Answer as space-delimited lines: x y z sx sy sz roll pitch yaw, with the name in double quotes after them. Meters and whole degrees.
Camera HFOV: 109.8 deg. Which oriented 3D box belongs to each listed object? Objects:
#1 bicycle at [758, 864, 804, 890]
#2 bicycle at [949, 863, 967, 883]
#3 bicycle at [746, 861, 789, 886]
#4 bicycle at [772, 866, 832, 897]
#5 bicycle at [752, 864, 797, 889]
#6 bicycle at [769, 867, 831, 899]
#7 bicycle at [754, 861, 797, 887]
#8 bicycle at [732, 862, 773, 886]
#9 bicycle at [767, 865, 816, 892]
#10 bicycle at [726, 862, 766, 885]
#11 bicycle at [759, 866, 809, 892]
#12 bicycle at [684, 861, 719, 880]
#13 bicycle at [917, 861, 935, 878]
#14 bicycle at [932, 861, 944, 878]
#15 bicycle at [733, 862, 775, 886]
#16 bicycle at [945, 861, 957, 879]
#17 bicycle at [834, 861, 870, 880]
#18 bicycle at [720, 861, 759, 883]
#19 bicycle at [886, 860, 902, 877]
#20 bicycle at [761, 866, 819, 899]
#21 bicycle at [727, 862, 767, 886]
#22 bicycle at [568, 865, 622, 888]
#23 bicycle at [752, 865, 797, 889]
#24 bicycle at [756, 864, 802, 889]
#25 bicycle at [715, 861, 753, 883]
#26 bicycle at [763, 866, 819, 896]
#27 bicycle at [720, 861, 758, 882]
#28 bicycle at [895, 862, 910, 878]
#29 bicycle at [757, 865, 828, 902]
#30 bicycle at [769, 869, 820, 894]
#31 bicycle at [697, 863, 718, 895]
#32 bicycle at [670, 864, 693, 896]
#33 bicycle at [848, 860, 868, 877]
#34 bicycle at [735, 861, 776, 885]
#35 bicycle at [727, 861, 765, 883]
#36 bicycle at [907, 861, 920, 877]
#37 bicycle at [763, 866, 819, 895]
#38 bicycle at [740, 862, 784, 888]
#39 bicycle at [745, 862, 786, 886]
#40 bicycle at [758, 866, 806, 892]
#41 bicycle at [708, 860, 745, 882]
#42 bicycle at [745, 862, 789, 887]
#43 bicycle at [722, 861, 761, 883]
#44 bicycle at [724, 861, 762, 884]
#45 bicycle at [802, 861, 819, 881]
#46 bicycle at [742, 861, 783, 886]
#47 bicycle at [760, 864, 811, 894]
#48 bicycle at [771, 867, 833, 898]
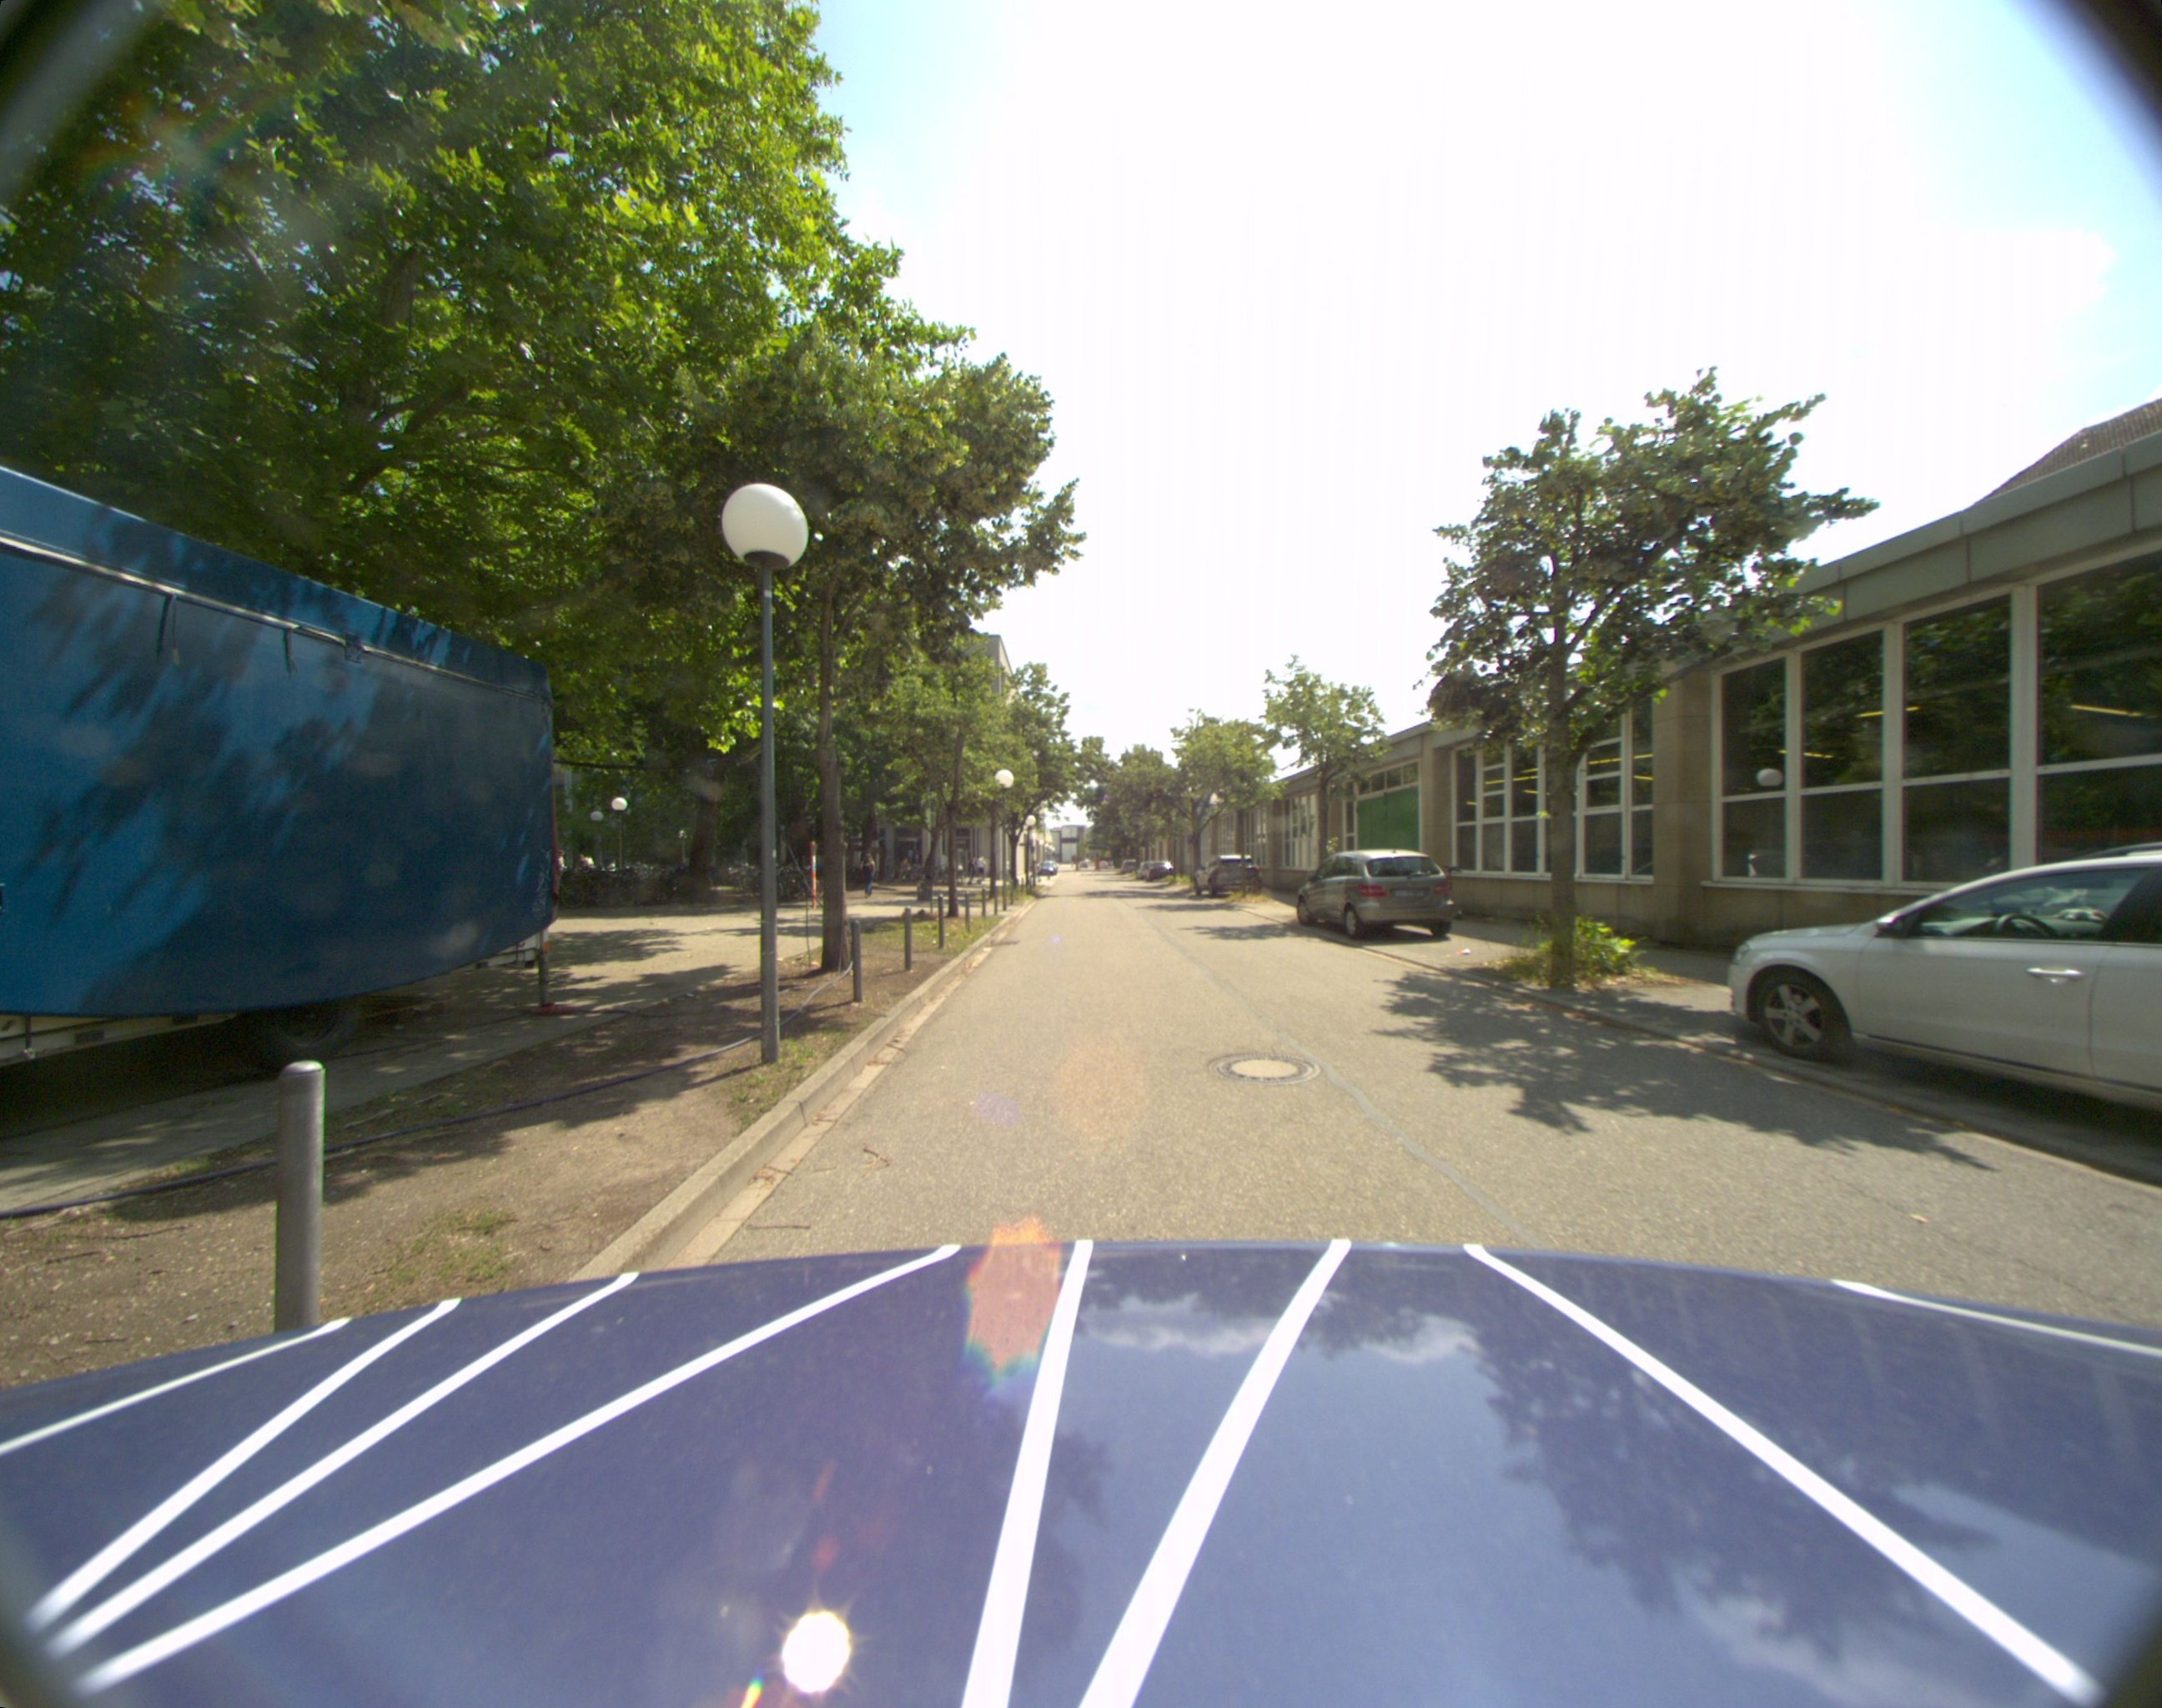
-12.775 0.974 32.353 1.796 1.063 0.425 0 0 -30 "bicycle"
-7.280 1.100 44.770 0.629 1.078 1.684 -2 3 -23 "bicycle"
-14.829 0.930 35.956 1.849 1.163 0.344 0 0 -34 "bicycle"
-9.880 0.983 26.954 1.950 1.076 0.404 0 0 -12 "bicycle"
-13.470 0.991 33.381 1.796 1.063 0.425 0 0 -28 "bicycle"
-9.543 0.971 25.864 1.950 1.076 0.404 0 0 -12 "bicycle"
-14.147 0.931 35.183 1.796 1.163 0.401 0 0 -34 "bicycle"
-16.493 0.986 38.156 1.849 1.163 0.344 1 0 -37 "bicycle"
-11.443 0.967 30.019 1.742 1.046 0.493 1 0 -37 "bicycle"
-17.189 1.006 39.006 1.849 1.163 0.352 1 0 -37 "bicycle"
-11.852 1.000 30.318 1.800 1.022 0.439 0 0 -32 "bicycle"
-22.614 0.981 45.340 0.345 1.163 1.849 0 0 45 "bicycle"
-10.386 1.032 50.965 0.491 1.134 1.529 1 -2 19 "bicycle"
-9.649 1.060 51.270 0.561 1.134 1.490 2 -2 -3 "bicycle"
-16.293 0.991 37.885 1.849 1.163 0.344 1 0 -37 "bicycle"
-8.720 1.042 51.023 0.561 1.134 1.489 2 1 -3 "bicycle"
-13.502 0.965 44.854 1.928 1.103 0.631 0 1 -37 "bicycle"
-17.915 0.932 39.896 1.849 1.163 0.352 1 0 -37 "bicycle"
-12.554 0.999 51.048 0.481 1.079 1.697 1 -2 5 "bicycle"
-9.735 0.956 25.439 1.773 1.076 0.438 0 0 -12 "bicycle"
-16.997 1.009 38.683 1.849 1.163 0.352 1 0 -37 "bicycle"
-20.621 0.955 32.278 1.907 0.973 0.377 1 0 -30 "bicycle"
-13.846 1.020 34.345 1.797 1.063 0.425 1 0 -36 "bicycle"
-12.994 0.970 32.734 1.796 1.063 0.425 0 0 -30 "bicycle"
-19.111 0.992 41.912 1.849 1.163 0.412 1 0 -39 "bicycle"
-10.610 0.983 27.809 1.916 1.053 0.325 0 0 -23 "bicycle"
-18.661 0.943 41.485 1.849 1.163 0.387 1 0 -39 "bicycle"
-12.064 1.104 51.335 0.481 1.079 1.516 1 -2 5 "bicycle"
-9.207 0.942 24.316 2.021 1.160 0.651 0 0 -12 "bicycle"
-10.903 1.045 28.908 1.741 0.904 0.493 0 0 -29 "bicycle"
-13.432 0.877 27.333 0.479 1.076 1.900 1 0 -21 "bicycle"
-14.135 0.911 26.922 0.479 1.076 1.900 1 0 -21 "bicycle"
-14.236 0.947 48.488 0.463 1.071 1.829 1 -2 8 "bicycle"
-16.087 0.930 37.606 1.849 1.163 0.344 1 0 -37 "bicycle"
-18.187 0.990 41.275 1.849 1.163 0.387 1 0 -37 "bicycle"
-11.301 1.035 51.217 0.460 1.079 1.474 2 -2 1 "bicycle"
-10.720 0.983 28.099 1.916 1.053 0.325 0 0 -23 "bicycle"
-14.451 0.963 34.487 1.796 1.163 0.401 0 0 -34 "bicycle"
-15.225 0.948 36.739 0.344 1.163 1.849 0 0 42 "bicycle"
-12.253 1.020 31.137 1.796 1.022 0.381 0 0 -32 "bicycle"
-19.725 0.937 42.287 1.849 1.163 0.412 1 0 -39 "bicycle"
-14.705 0.947 35.592 1.849 1.163 0.401 0 0 -34 "bicycle"
-17.700 0.937 39.612 1.849 1.163 0.352 1 0 -37 "bicycle"
-18.153 0.987 40.821 1.849 1.163 0.352 1 0 -37 "bicycle"
-15.690 0.956 44.065 0.476 1.103 1.665 -1 1 -37 "bicycle"
-15.491 0.940 37.000 0.344 1.163 1.849 0 0 42 "bicycle"
-11.355 0.944 29.223 1.742 1.148 0.493 0 0 -37 "bicycle"
-9.641 0.984 26.284 1.950 1.076 0.404 0 0 -12 "bicycle"
